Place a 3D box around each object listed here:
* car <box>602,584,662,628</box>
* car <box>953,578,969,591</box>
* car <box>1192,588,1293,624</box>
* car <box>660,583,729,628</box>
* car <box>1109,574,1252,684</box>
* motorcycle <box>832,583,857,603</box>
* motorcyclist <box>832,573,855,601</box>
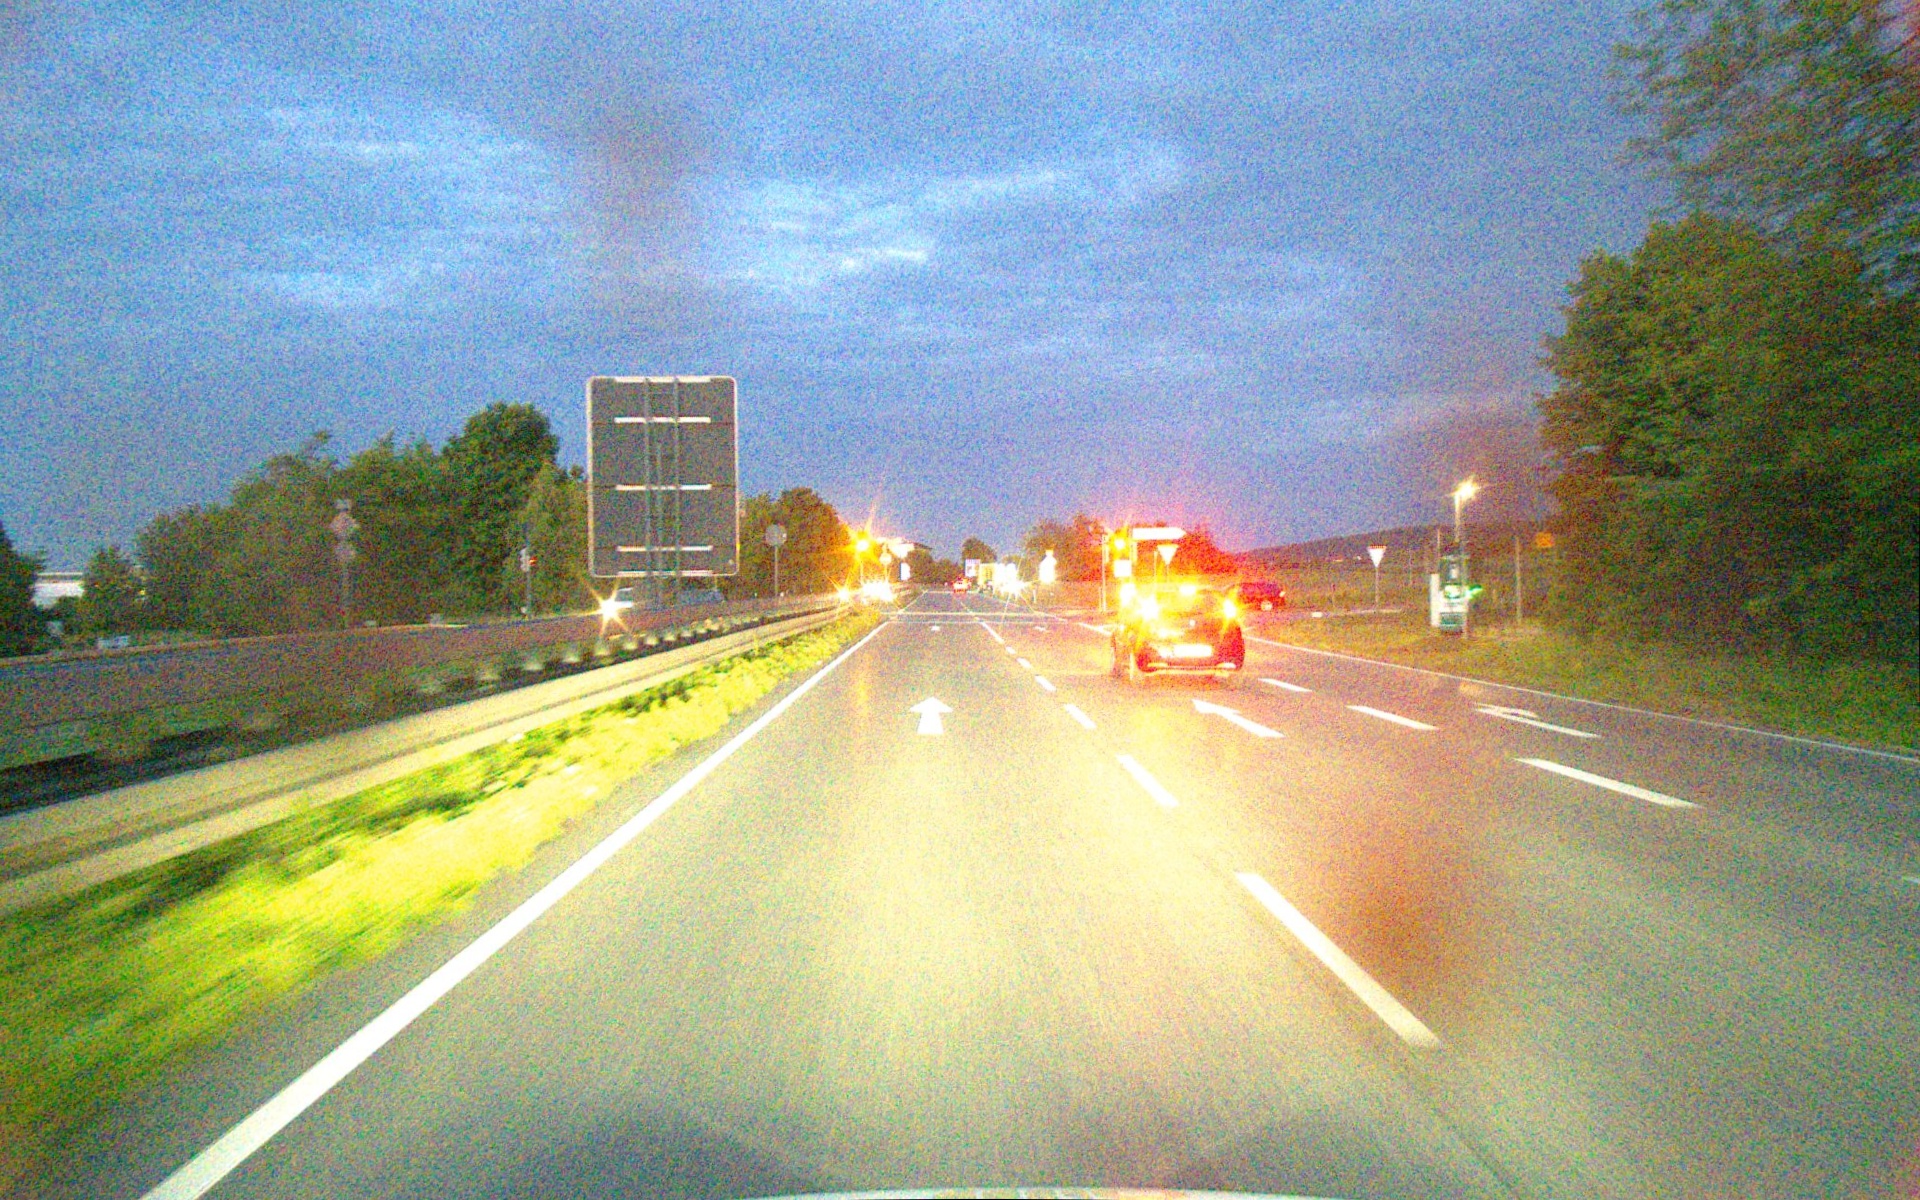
[{"bbox_3d":[-13.241,0.200,66.957,1.759,1.700,4.499,0,1,-3],"label":"car"},{"bbox_3d":[0.130,-2.200,234.535,2.228,1.660,3.999,-1,1,-2],"label":"car"},{"bbox_3d":[13.608,0.272,79.941,4.507,1.547,2.000,-2,1,-1],"label":"car"},{"bbox_3d":[-9.272,0.150,58.039,1.882,1.456,4.499,-2,1,-3],"label":"car"},{"bbox_3d":[3.276,0.383,25.236,1.636,1.547,4.106,0,1,0],"label":"car"},{"bbox_3d":[-6.711,-0.417,95.864,0.958,1.117,2.510,-1,1,7],"label":"motorcycle"},{"bbox_3d":[-6.739,-0.753,95.801,1.113,1.612,0.973,-1,1,8],"label":"motorcyclist"}]
